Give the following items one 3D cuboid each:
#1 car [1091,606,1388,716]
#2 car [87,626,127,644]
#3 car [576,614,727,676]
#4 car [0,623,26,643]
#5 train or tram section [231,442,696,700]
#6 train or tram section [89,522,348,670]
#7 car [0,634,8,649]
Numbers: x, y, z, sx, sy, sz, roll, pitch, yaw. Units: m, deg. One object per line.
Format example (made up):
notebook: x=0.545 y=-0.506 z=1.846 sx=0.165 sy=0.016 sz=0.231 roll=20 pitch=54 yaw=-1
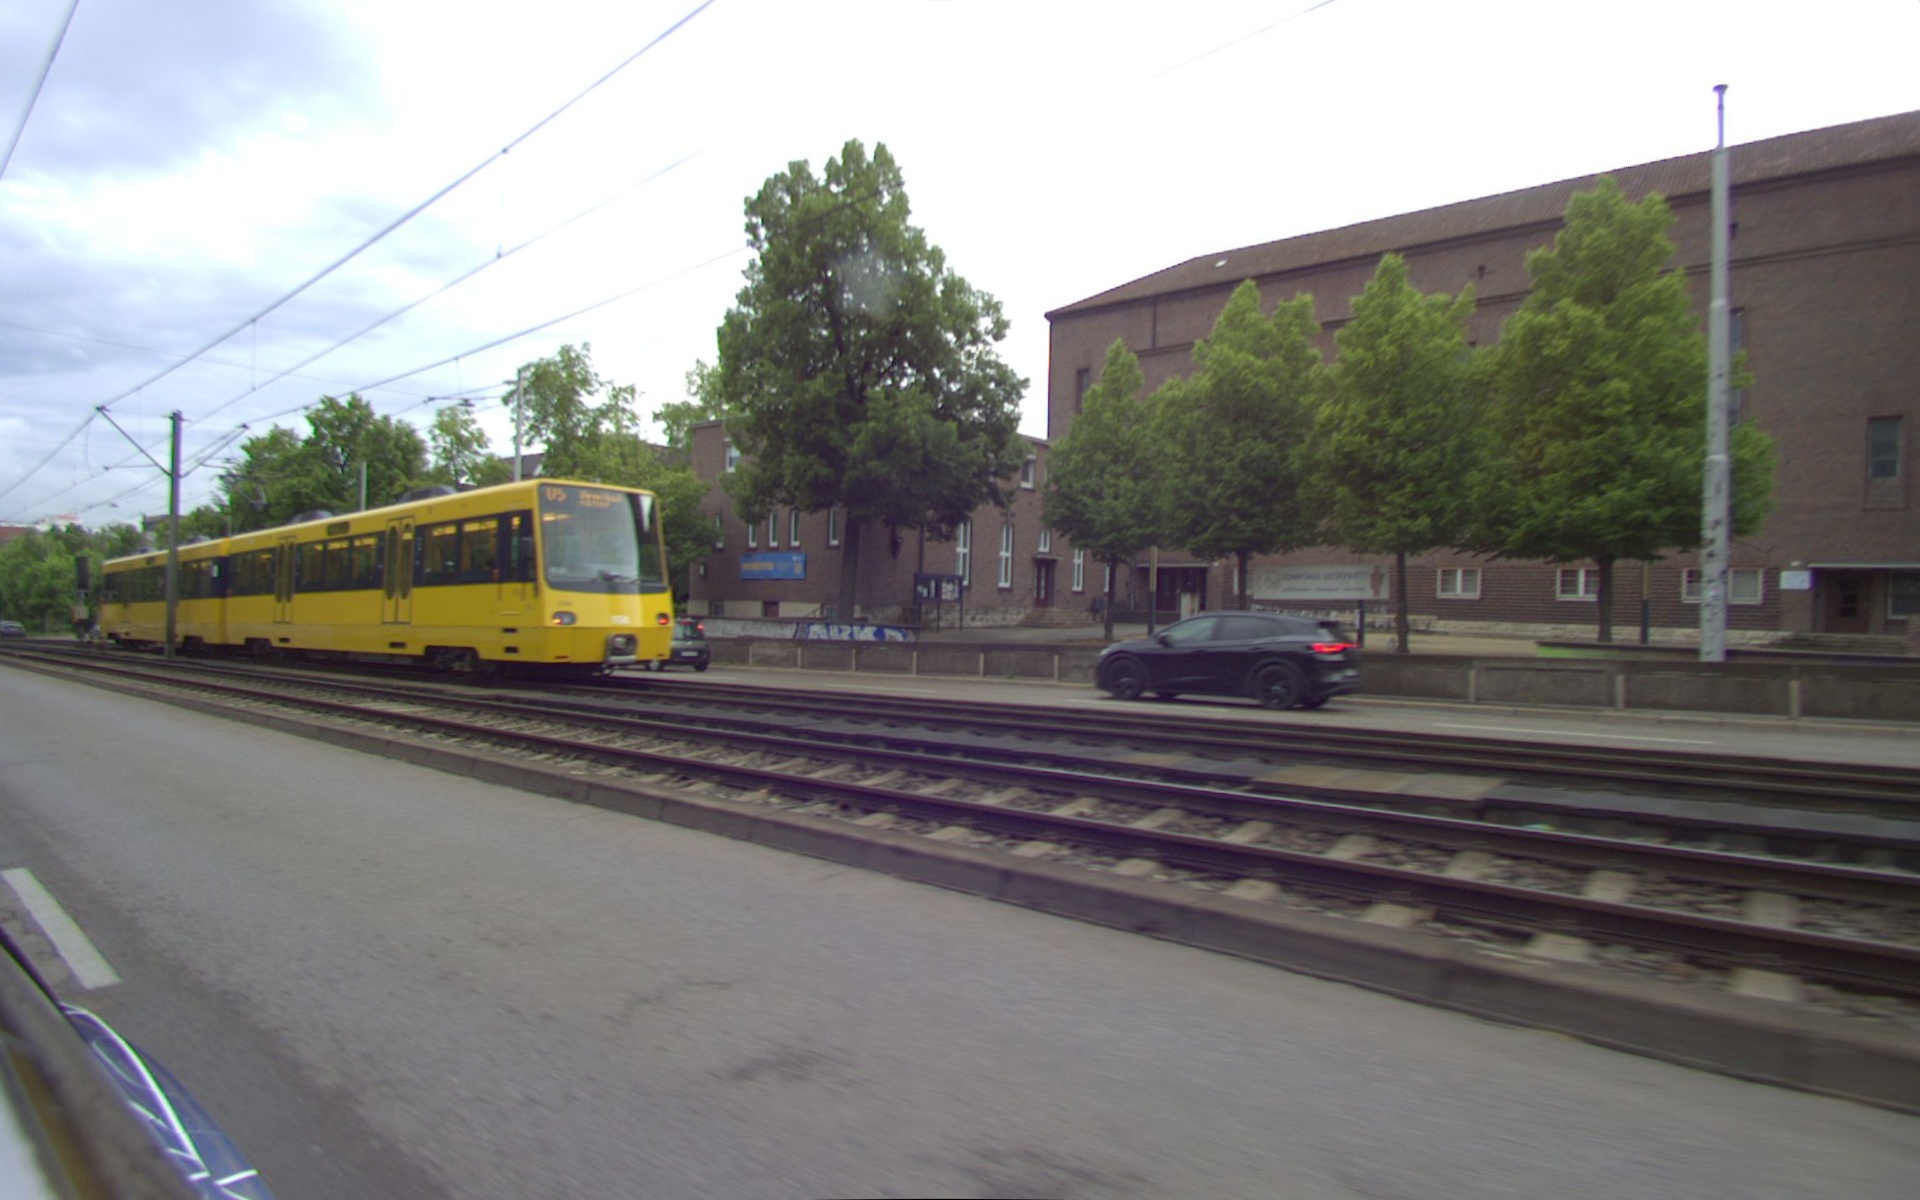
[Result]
car: x=4.697 y=0.984 z=17.370 sx=4.519 sy=1.656 sz=1.974 roll=-1 pitch=-3 yaw=39
car: x=-74.658 y=3.068 z=88.578 sx=4.337 sy=1.513 sz=1.933 roll=-1 pitch=-2 yaw=40
car: x=-8.885 y=1.265 z=29.000 sx=4.407 sy=1.656 sz=1.974 roll=-1 pitch=-3 yaw=39
car: x=-80.766 y=2.778 z=85.886 sx=4.337 sy=1.650 sz=1.670 roll=-1 pitch=-2 yaw=40
train or tram section: x=-12.235 y=-0.281 z=22.678 sx=17.869 sy=4.006 sz=2.798 roll=-1 pitch=-2 yaw=42
train or tram section: x=-26.336 y=0.073 z=34.996 sx=20.015 sy=4.006 sz=2.799 roll=-1 pitch=-2 yaw=41
car: x=-100.611 y=4.321 z=105.302 sx=4.337 sy=1.523 sz=1.747 roll=-1 pitch=-2 yaw=40
